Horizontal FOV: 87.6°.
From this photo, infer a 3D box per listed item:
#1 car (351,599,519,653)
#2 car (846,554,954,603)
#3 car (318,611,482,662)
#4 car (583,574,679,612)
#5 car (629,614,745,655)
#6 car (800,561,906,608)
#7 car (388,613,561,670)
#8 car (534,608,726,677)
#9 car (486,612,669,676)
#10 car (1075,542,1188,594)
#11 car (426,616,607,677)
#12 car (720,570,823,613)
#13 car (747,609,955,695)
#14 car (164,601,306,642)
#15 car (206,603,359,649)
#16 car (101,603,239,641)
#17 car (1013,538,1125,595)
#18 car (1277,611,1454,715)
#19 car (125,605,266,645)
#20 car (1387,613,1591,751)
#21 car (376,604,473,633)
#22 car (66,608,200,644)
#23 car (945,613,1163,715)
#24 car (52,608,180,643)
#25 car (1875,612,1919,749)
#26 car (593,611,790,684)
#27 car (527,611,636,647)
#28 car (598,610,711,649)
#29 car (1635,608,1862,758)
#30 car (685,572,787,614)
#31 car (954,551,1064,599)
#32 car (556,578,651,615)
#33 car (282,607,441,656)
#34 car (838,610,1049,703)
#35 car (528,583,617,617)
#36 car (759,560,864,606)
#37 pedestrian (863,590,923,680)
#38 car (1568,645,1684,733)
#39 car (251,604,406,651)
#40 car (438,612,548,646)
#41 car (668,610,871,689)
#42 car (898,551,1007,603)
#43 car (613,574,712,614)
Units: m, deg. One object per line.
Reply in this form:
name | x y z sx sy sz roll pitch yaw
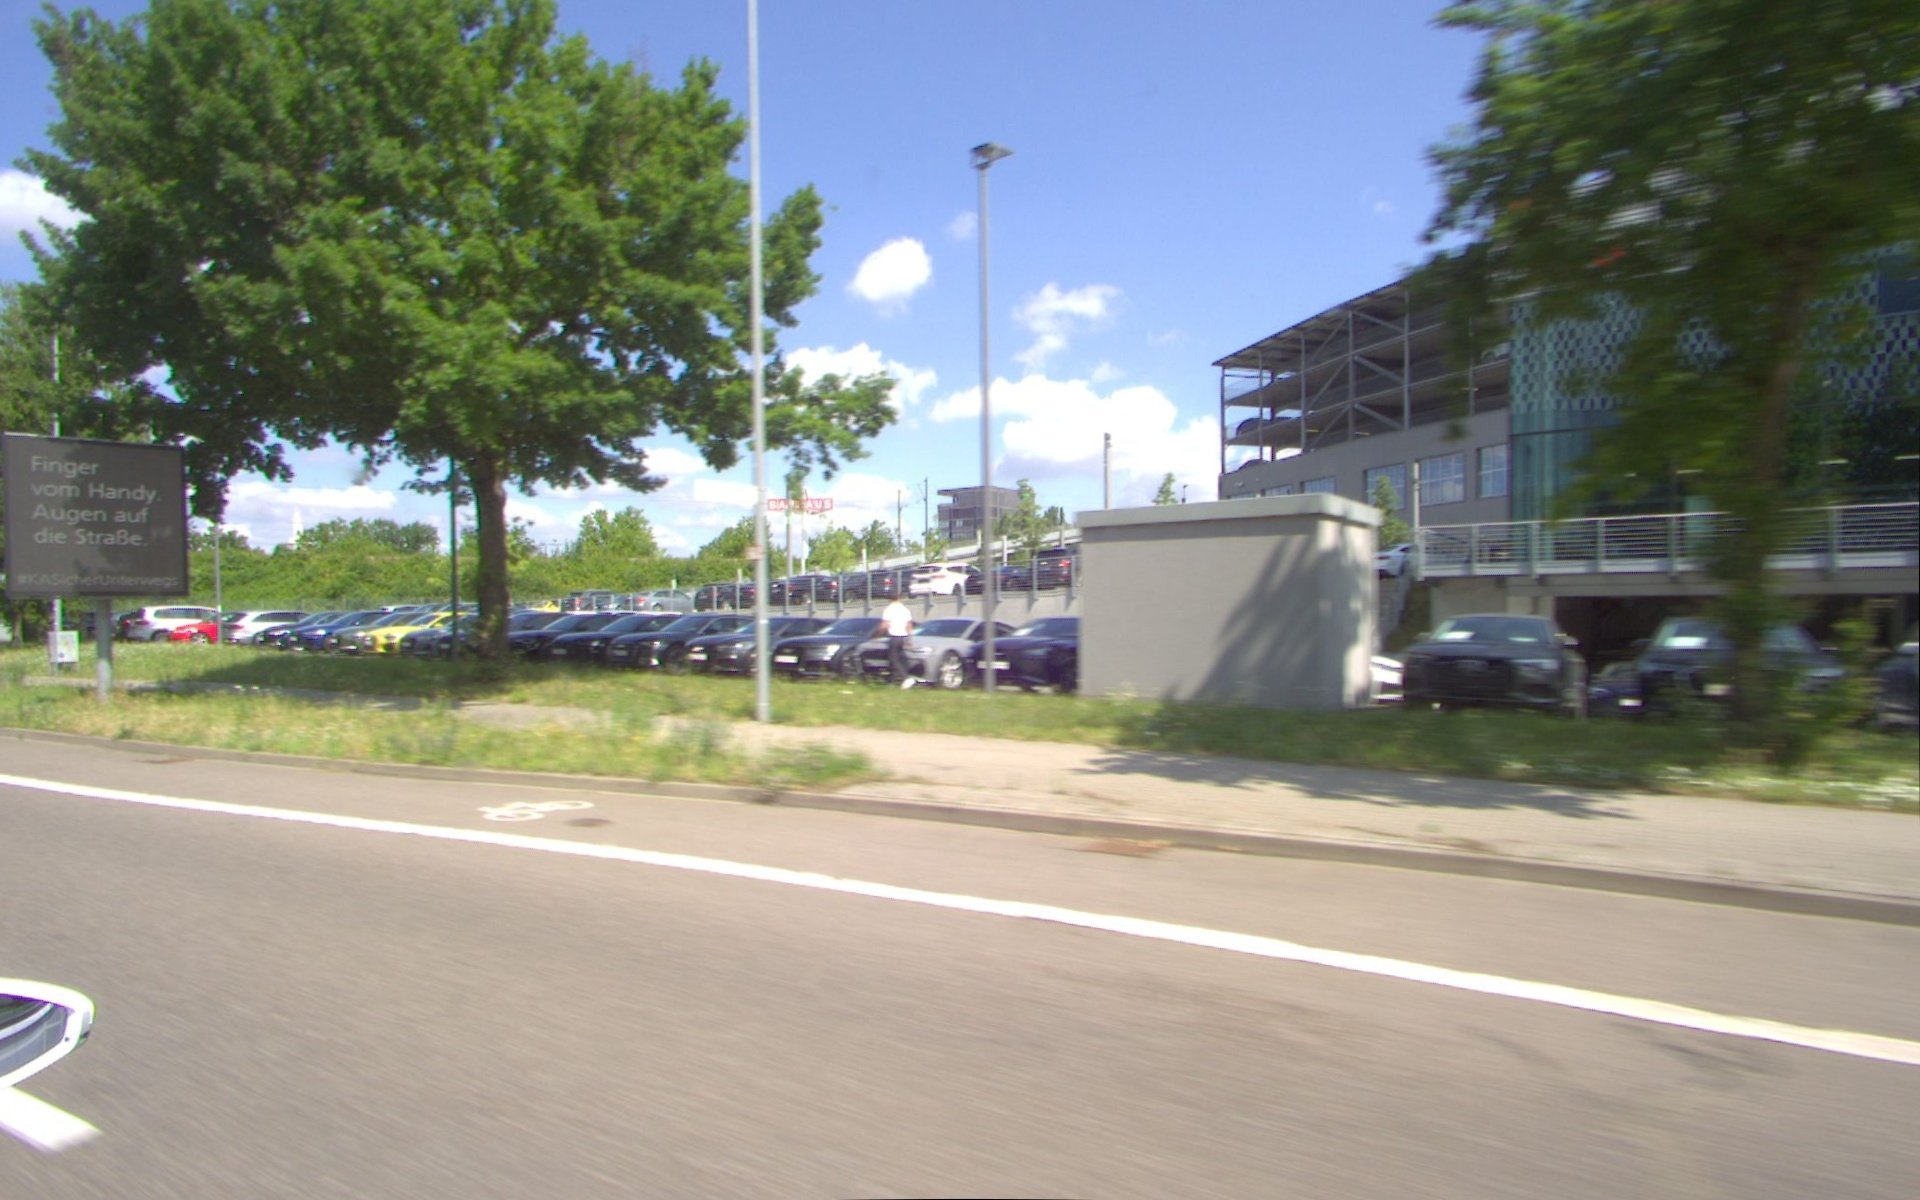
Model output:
car | -16.567 0.811 31.812 1.909 1.533 4.344 2 0 34
car | -2.369 -0.837 40.463 1.912 1.798 4.338 2 0 39
car | -18.511 1.173 33.272 1.909 1.533 4.344 2 0 34
car | -16.761 -0.324 51.138 1.912 1.798 4.338 2 0 39
car | -10.984 1.363 40.534 1.882 1.518 4.333 -1 -1 36
car | -4.429 -0.637 42.088 1.912 1.798 4.338 2 0 39
car | -14.556 1.204 30.234 1.909 1.533 4.344 2 0 34
car | -8.213 1.020 25.285 1.909 1.533 4.344 2 0 34
car | -10.264 1.154 27.174 1.909 1.533 4.344 2 0 34
car | 5.951 -1.050 34.380 1.912 1.572 4.338 2 0 39
car | -12.500 1.277 28.475 1.909 1.533 4.344 2 0 34
car | -8.434 -0.346 45.096 1.912 1.798 4.338 2 0 39
car | -2.133 1.011 20.752 1.909 1.533 4.344 2 0 34
car | -29.647 0.884 41.082 1.909 1.533 4.344 2 0 34
car | -25.151 0.957 37.310 1.909 1.533 4.344 2 0 34
car | -34.122 0.942 43.352 1.909 1.533 4.344 2 0 34
car | 3.958 -1.147 35.680 1.912 1.798 4.338 2 0 39
car | 7.131 0.975 17.350 1.831 1.532 4.340 -1 0 36
car | -31.975 1.037 41.990 1.909 1.533 4.344 2 0 34
car | 7.299 0.959 13.587 1.831 1.532 4.340 -1 0 36
car | -29.222 0.997 54.749 1.882 1.518 4.333 -1 -1 36
car | -37.628 1.164 45.662 1.909 1.533 4.344 2 0 34
car | 1.795 1.042 17.790 1.886 1.533 4.341 2 0 36
car | -40.497 1.210 48.141 1.909 1.533 4.344 2 0 34
car | 11.224 0.846 10.588 1.794 1.422 4.094 0 0 36
car | -6.295 1.078 23.953 1.909 1.533 4.344 2 0 34
car | -17.044 1.294 45.289 1.882 1.518 4.333 -1 -1 36
car | -12.775 1.194 42.090 1.882 1.518 4.333 -1 -1 36
car | 9.280 0.862 11.986 1.831 1.464 4.094 0 -1 36
car | -10.366 -0.305 46.580 1.912 1.798 4.338 2 0 39
car | 1.895 -0.901 37.490 1.912 1.572 4.338 2 0 39
car | -18.745 -0.172 52.795 1.912 1.798 4.338 2 0 39
car | -20.616 1.067 34.654 1.909 1.533 4.344 2 0 34
car | -0.189 1.010 19.332 1.909 1.533 4.344 2 0 34
car | -21.944 0.040 56.803 1.912 1.798 4.338 2 0 39
car | -6.374 -0.716 43.357 1.912 1.798 4.338 2 0 39
pedestrian | -1.139 0.578 16.953 0.761 1.479 0.631 2 1 35
car | 14.203 1.789 21.283 1.882 1.518 4.333 -1 -1 36
car | -22.757 0.982 36.215 1.909 1.533 4.344 2 0 34
car | -21.920 1.326 47.137 1.882 1.518 4.333 -1 -1 36
car | -4.111 1.037 22.285 1.909 1.533 4.344 2 0 34
car | -0.229 -0.846 38.856 1.912 1.798 4.338 2 0 39
car | -14.672 -0.272 49.570 1.912 1.798 4.338 2 0 39
